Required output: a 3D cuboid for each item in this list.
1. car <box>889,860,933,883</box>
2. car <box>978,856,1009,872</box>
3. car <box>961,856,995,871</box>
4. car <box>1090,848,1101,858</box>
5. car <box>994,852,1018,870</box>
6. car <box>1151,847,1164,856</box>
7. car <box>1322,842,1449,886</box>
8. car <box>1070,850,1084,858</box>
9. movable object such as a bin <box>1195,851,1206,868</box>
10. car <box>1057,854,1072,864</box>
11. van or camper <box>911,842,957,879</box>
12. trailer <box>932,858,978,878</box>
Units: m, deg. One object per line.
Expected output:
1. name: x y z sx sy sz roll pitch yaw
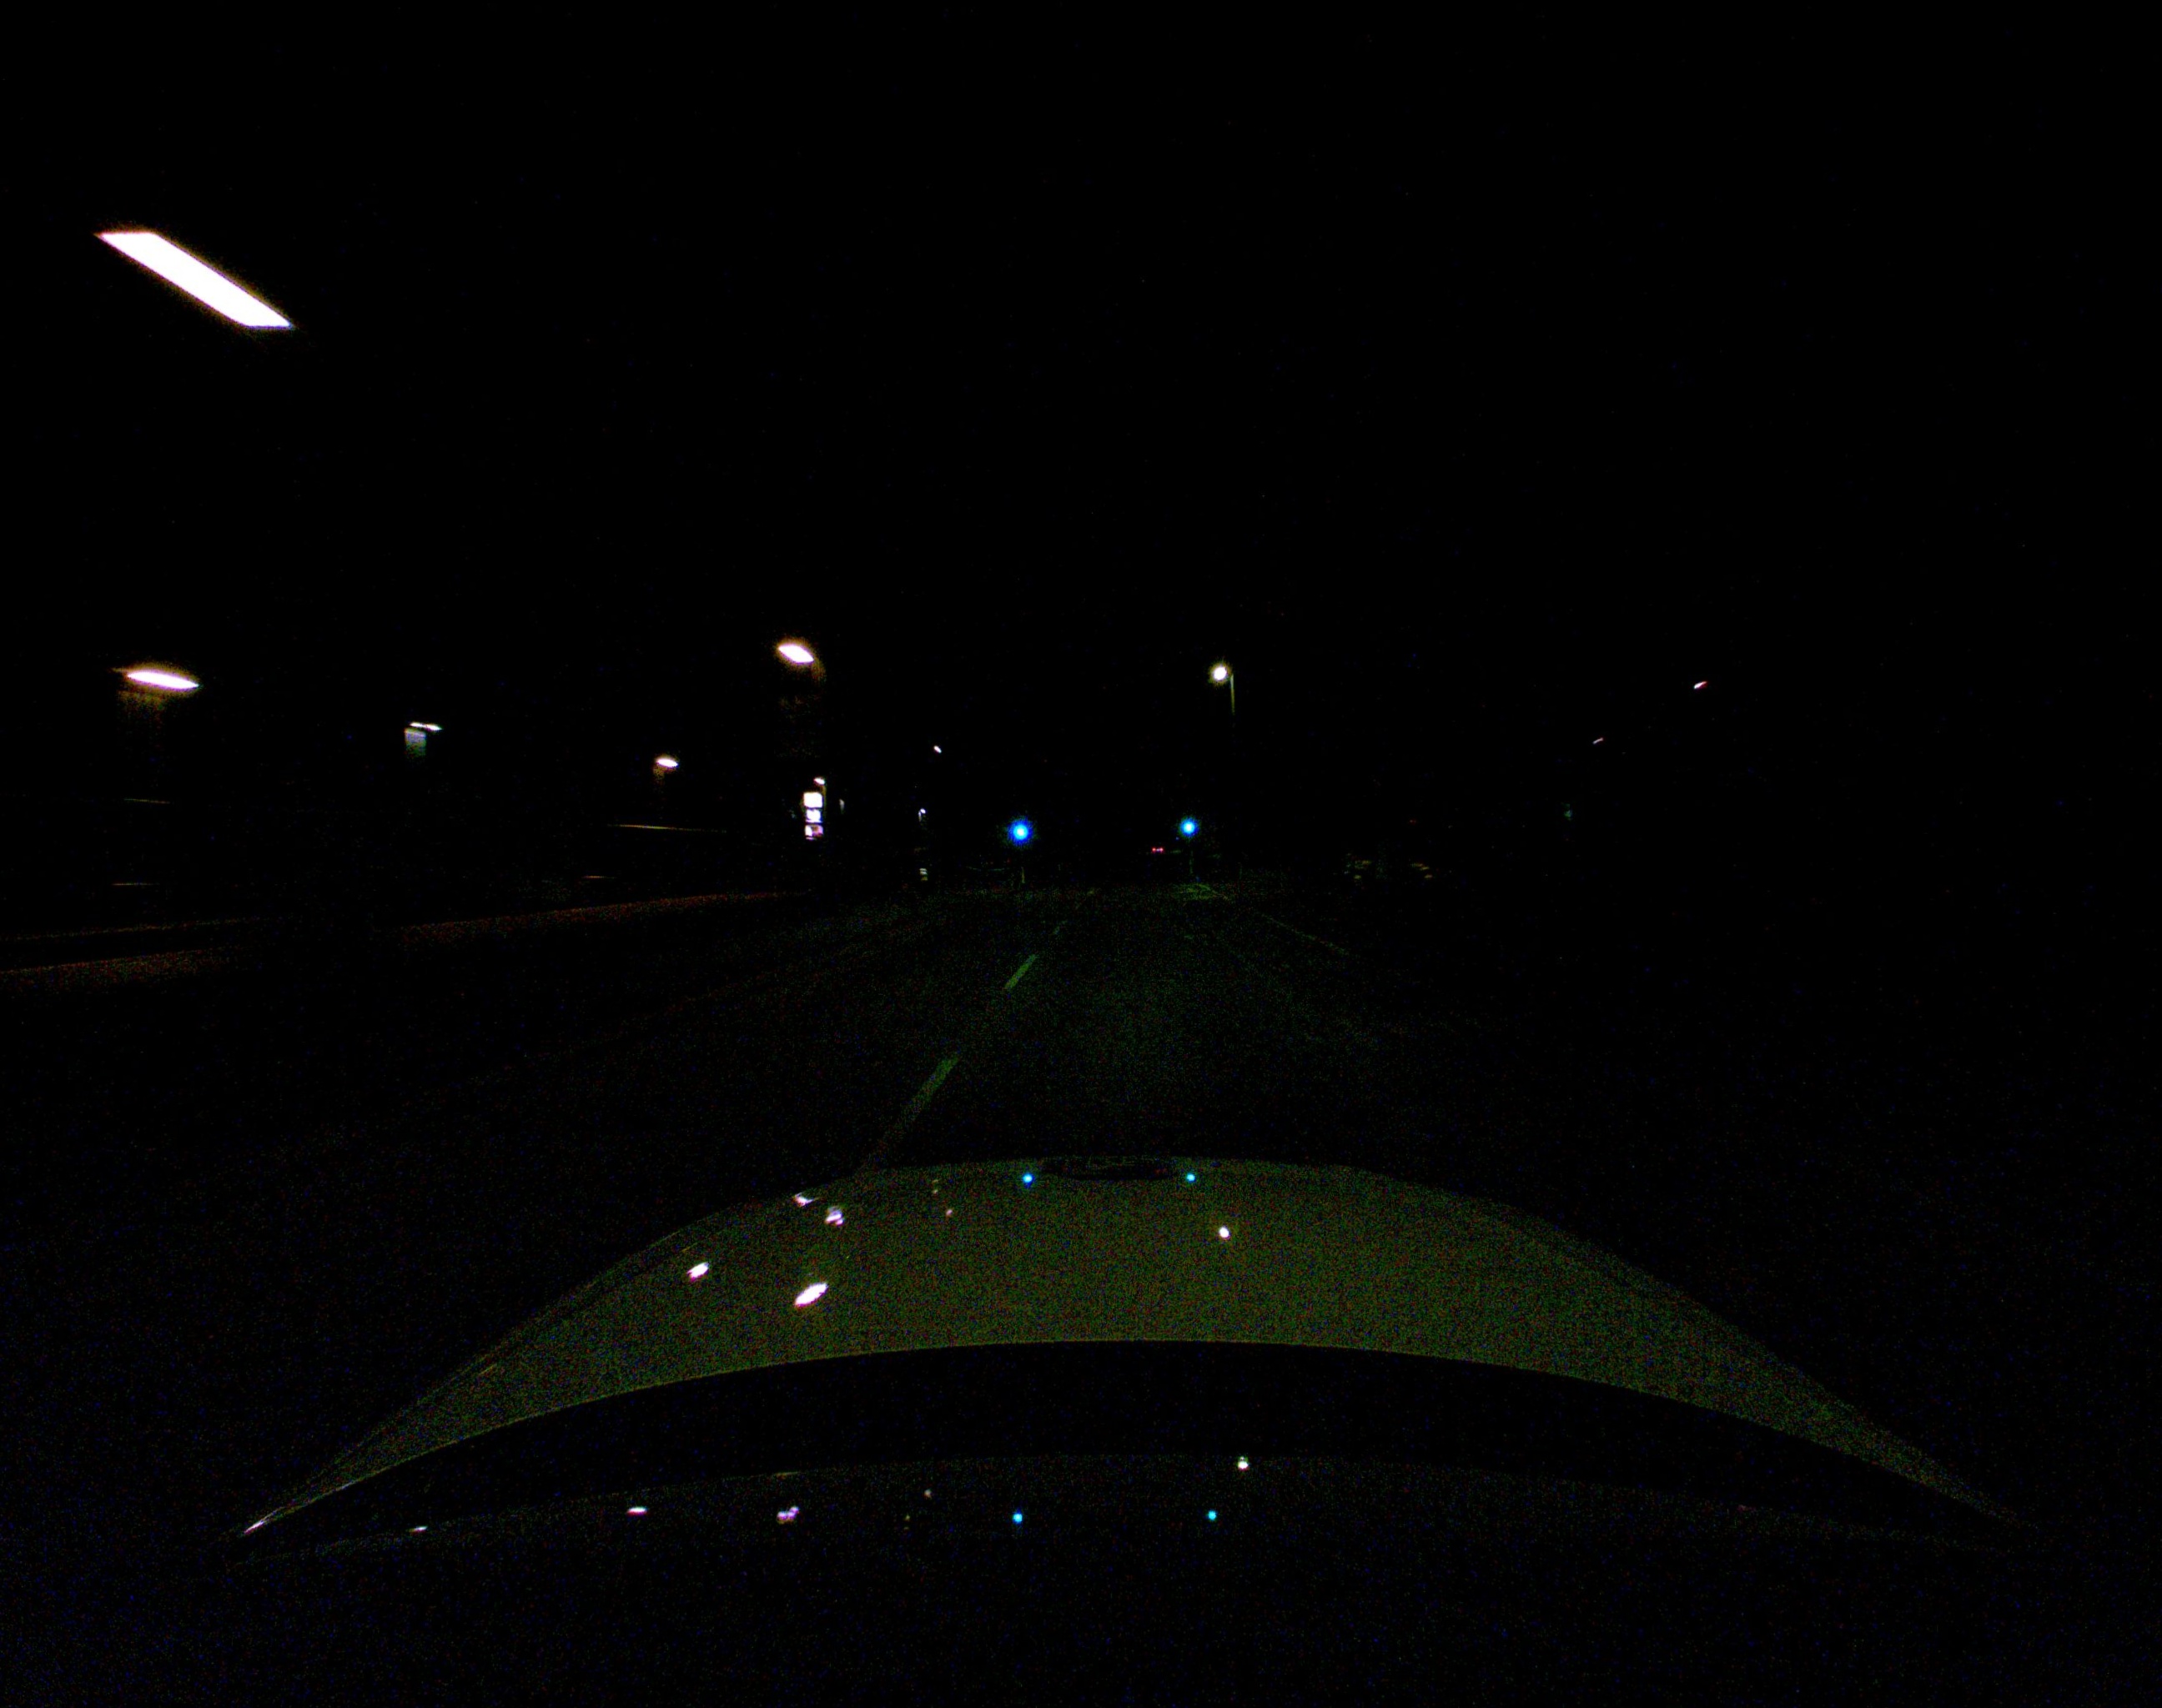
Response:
1. car: -12.032 1.241 57.851 1.638 1.339 4.550 -6 0 5
2. car: -9.136 1.038 85.162 1.891 1.522 5.184 -2 0 9
3. car: -10.068 0.959 79.711 3.017 1.326 1.534 -2 0 1
4. car: 3.446 -0.309 189.254 2.081 2.013 4.007 -6 0 6
5. car: -8.374 0.728 91.209 1.849 1.904 4.885 -2 0 4
6. car: 13.885 -0.499 148.184 2.152 1.583 4.017 -1 0 3
7. car: 10.577 0.339 28.505 3.748 1.354 1.861 -2 0 3
8. car: -0.770 0.008 158.846 1.983 1.338 5.441 -2 0 6
9. movable object such as a bin: 8.479 0.369 57.716 0.719 1.200 0.722 -2 0 13
10. car: -2.748 0.875 139.430 1.983 1.628 4.685 -2 0 6
11. van or camper: -11.529 0.455 64.271 2.264 2.647 5.667 -4 0 2
12. trailer: -10.953 1.173 71.123 2.404 1.374 4.669 -6 -1 11
